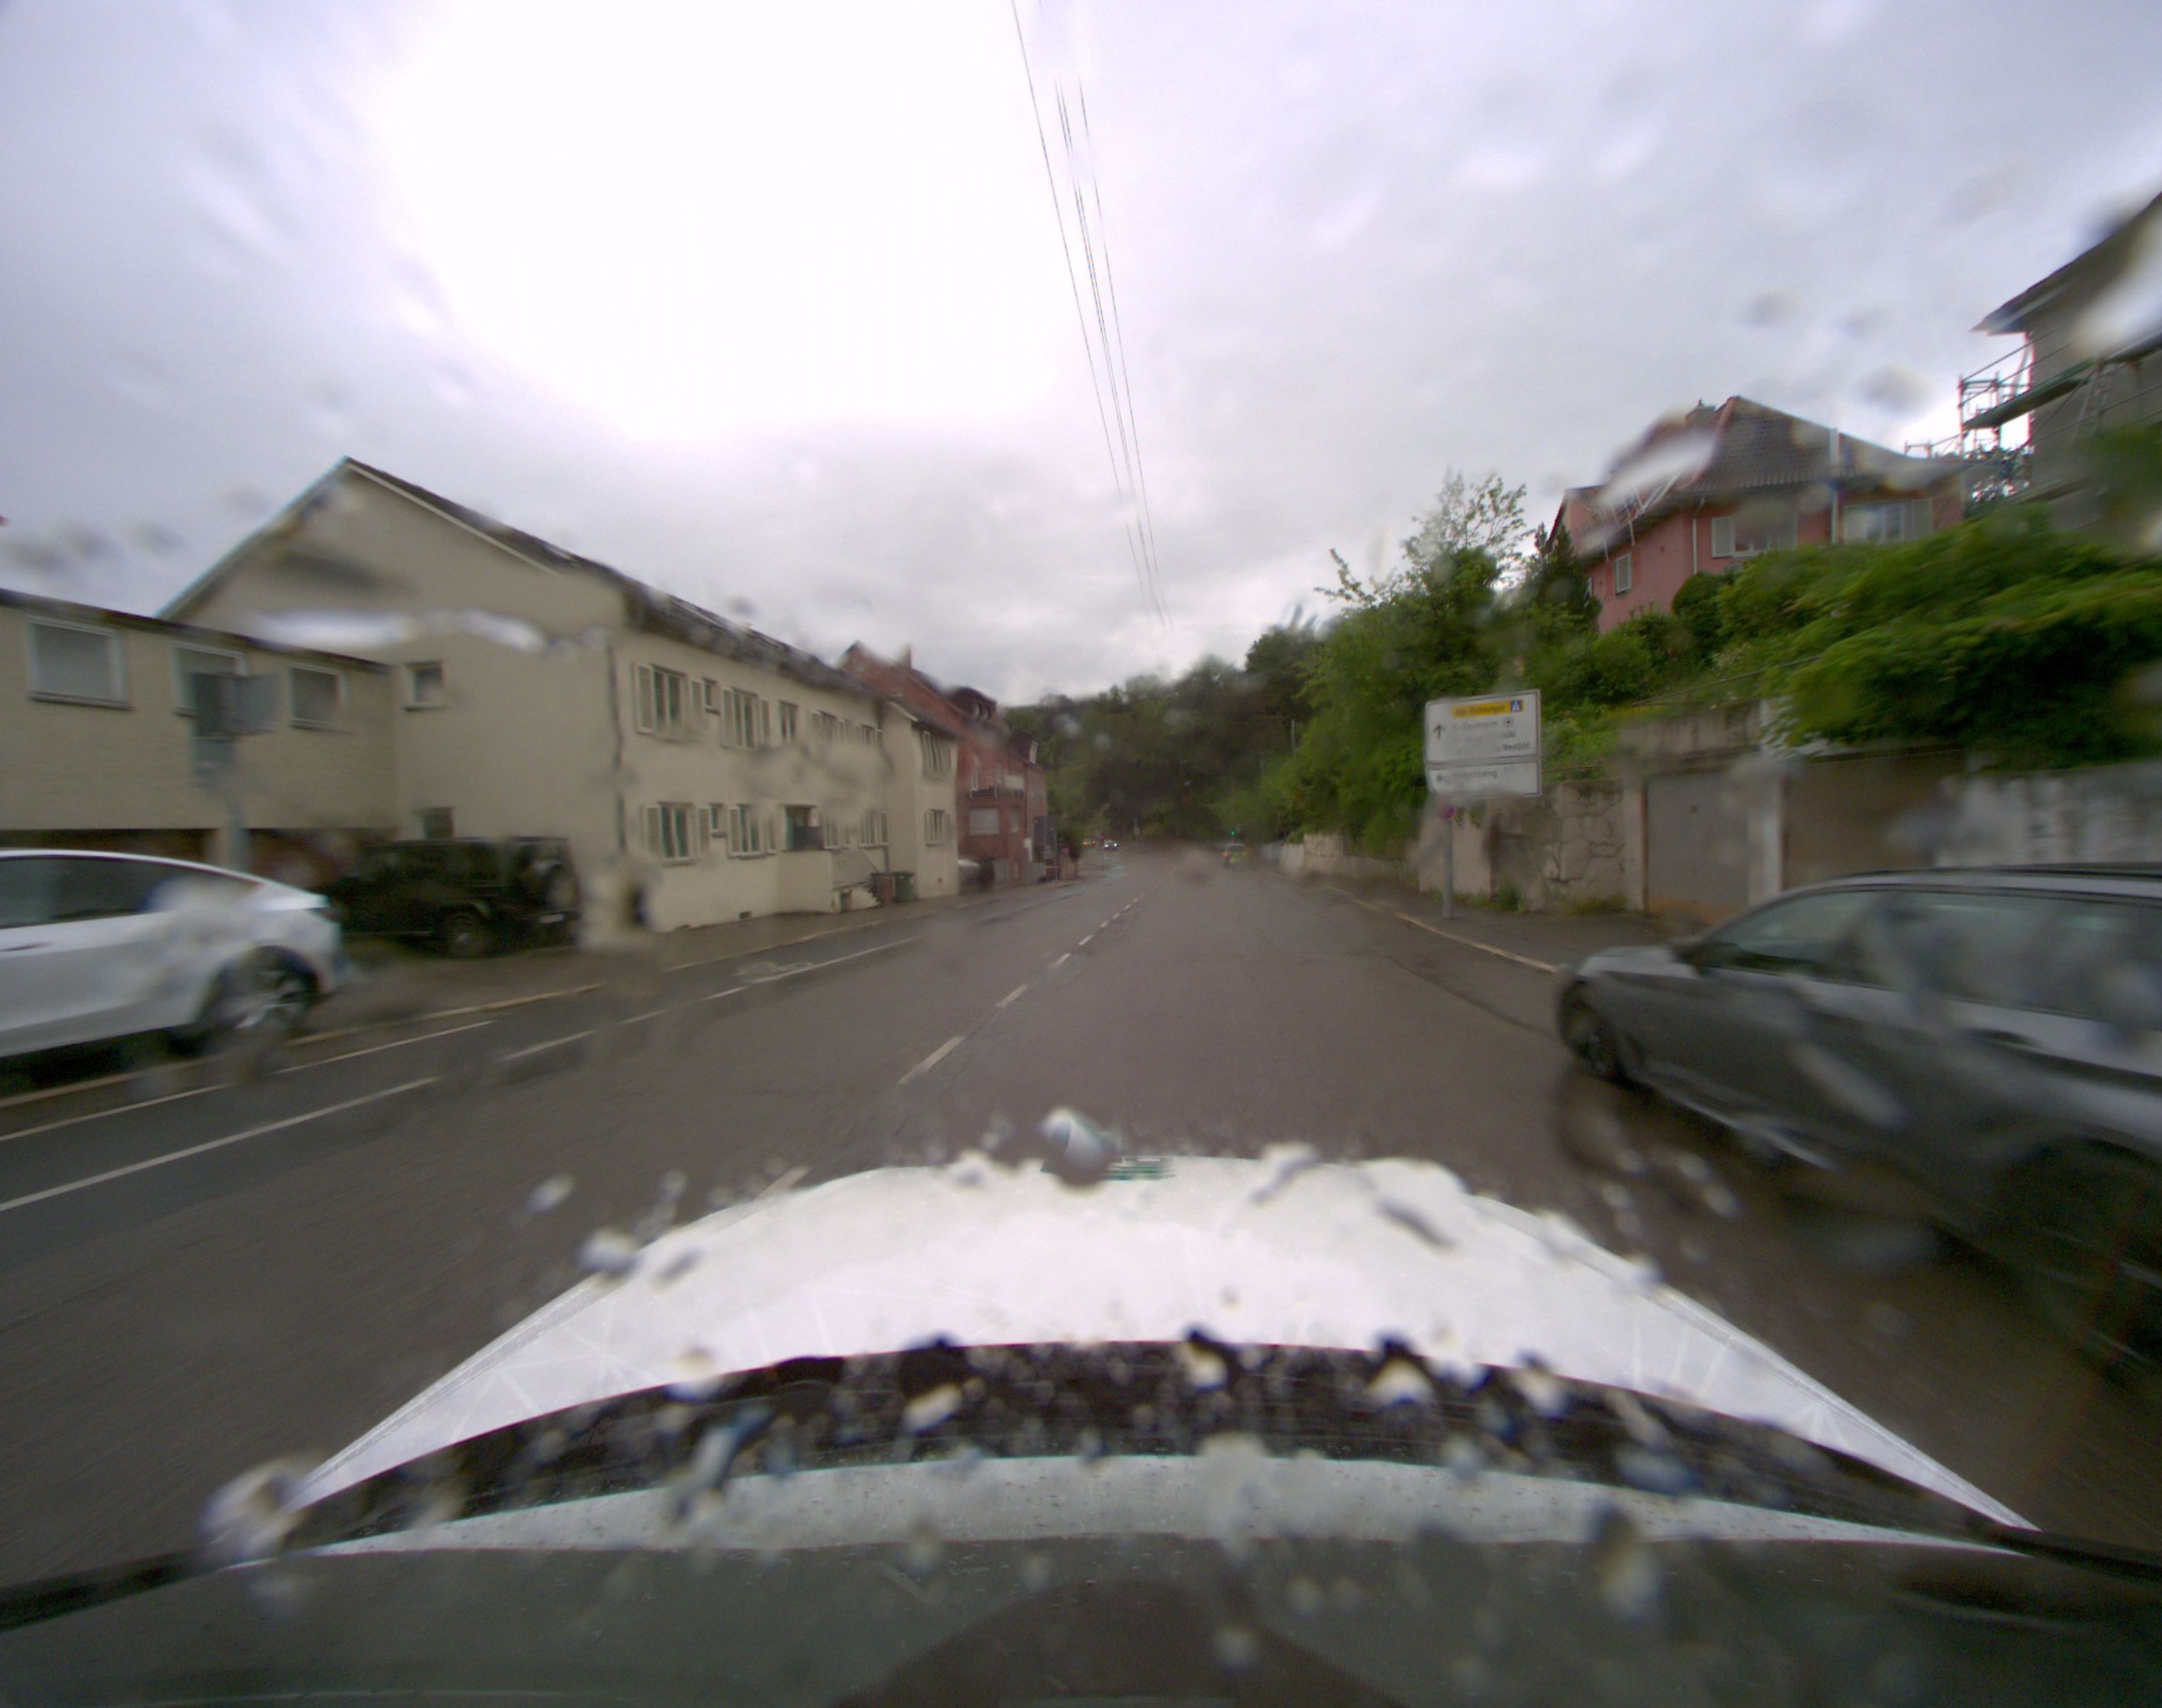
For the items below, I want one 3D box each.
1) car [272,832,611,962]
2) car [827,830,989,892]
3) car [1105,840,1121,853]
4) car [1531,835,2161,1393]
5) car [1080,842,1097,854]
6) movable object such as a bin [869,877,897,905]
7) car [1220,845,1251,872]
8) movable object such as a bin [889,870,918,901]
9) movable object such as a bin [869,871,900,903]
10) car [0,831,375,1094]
[{"bbox_3d":[-10.955,0.699,14.150,4.467,2.013,1.891,-2,0,5],"label":"car"},{"bbox_3d":[-7.588,0.354,35.909,6.615,2.554,2.173,-1,-2,8],"label":"car"},{"bbox_3d":[4.515,-1.084,114.845,1.738,1.549,3.995,-5,3,-4],"label":"car"},{"bbox_3d":[3.939,0.700,3.545,1.780,1.496,4.714,-1,-1,6],"label":"car"},{"bbox_3d":[1.122,-0.890,122.241,1.741,1.550,3.988,-5,1,-9],"label":"car"},{"bbox_3d":[-6.460,1.206,26.565,0.669,0.859,0.710,-1,-1,8],"label":"movable object such as a bin"},{"bbox_3d":[12.388,0.333,65.323,2.294,1.939,4.337,-3,0,10],"label":"car"},{"bbox_3d":[-6.174,1.096,28.372,0.777,1.047,0.740,-1,-1,8],"label":"movable object such as a bin"},{"bbox_3d":[-6.653,1.111,27.616,0.777,1.047,0.710,-1,-1,8],"label":"movable object such as a bin"},{"bbox_3d":[-7.661,0.685,5.227,1.920,1.631,4.683,-1,-1,5],"label":"car"}]
